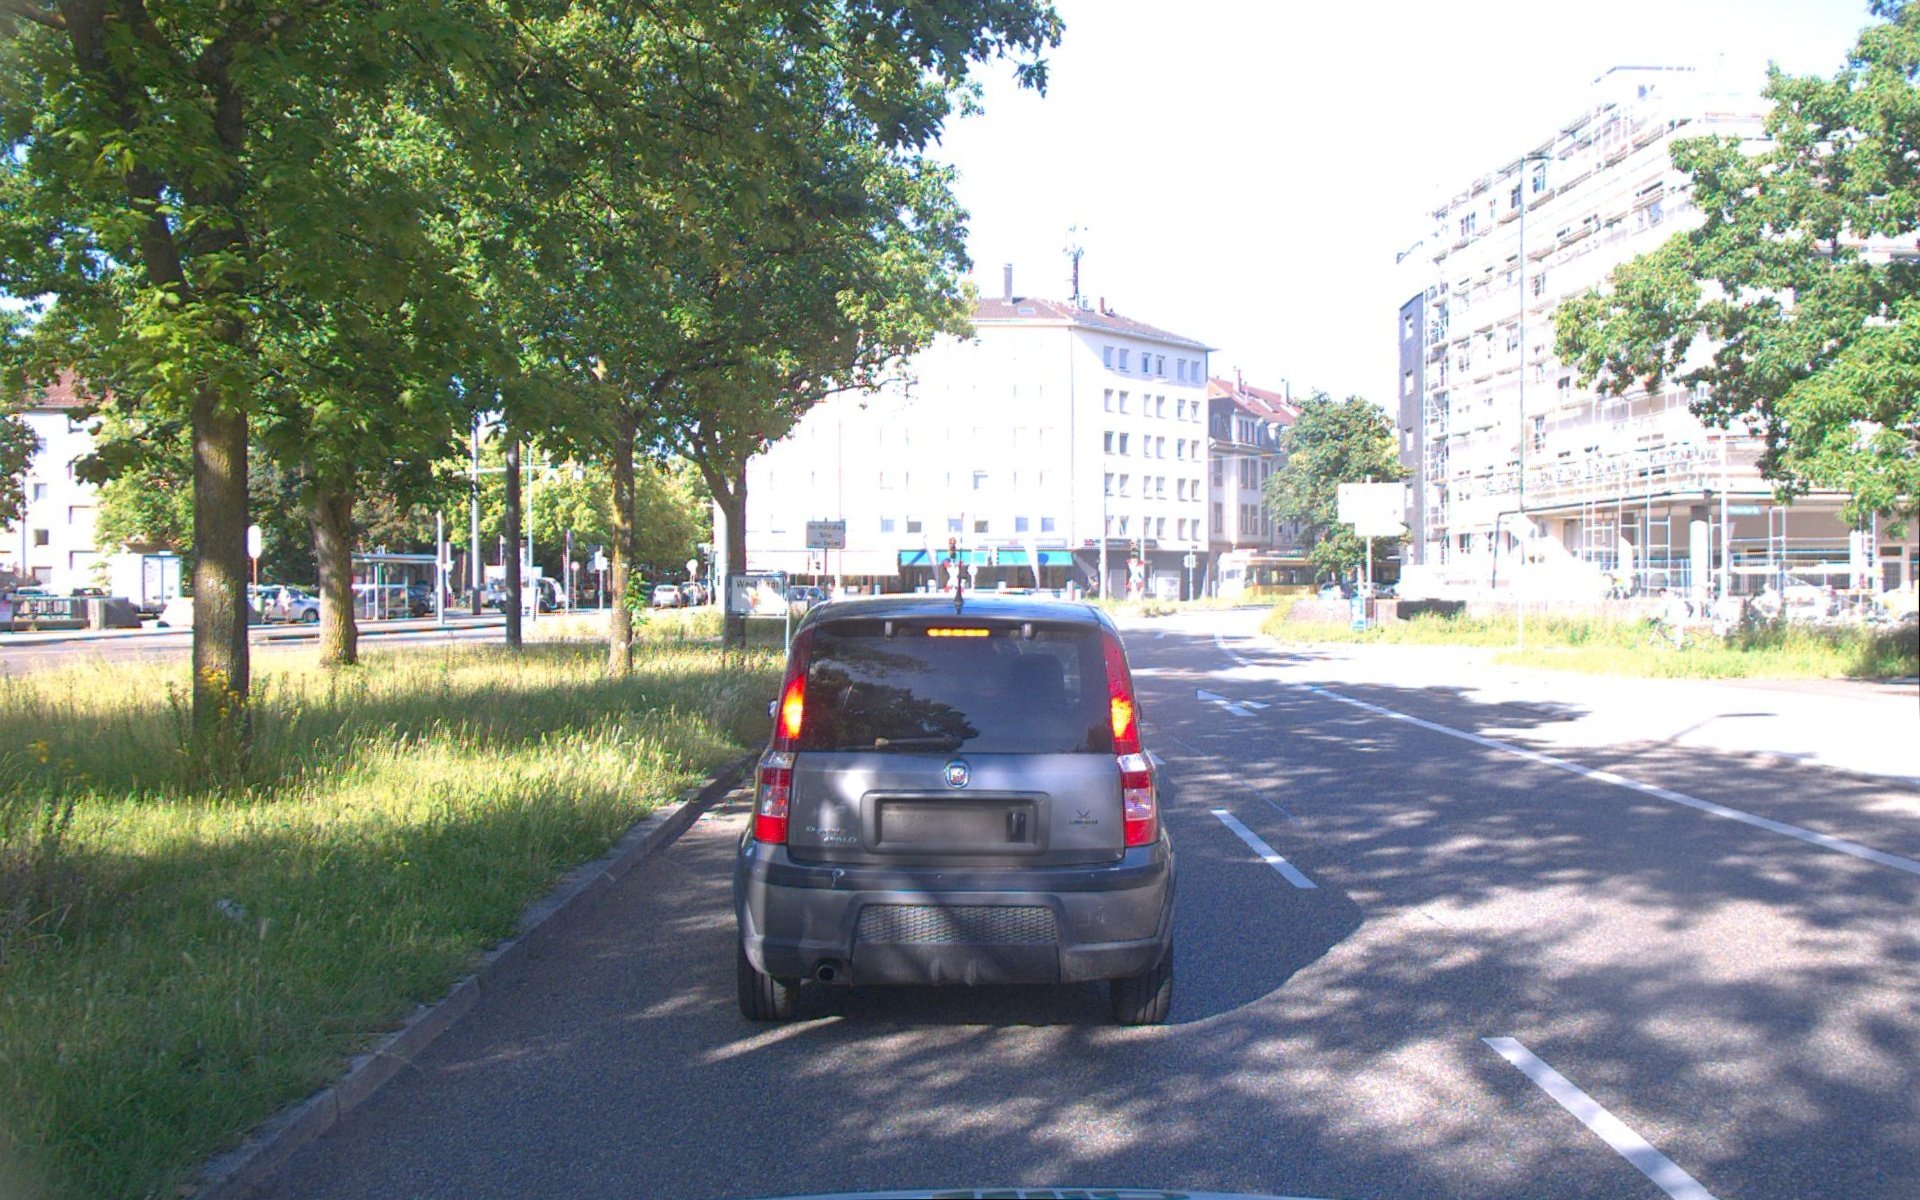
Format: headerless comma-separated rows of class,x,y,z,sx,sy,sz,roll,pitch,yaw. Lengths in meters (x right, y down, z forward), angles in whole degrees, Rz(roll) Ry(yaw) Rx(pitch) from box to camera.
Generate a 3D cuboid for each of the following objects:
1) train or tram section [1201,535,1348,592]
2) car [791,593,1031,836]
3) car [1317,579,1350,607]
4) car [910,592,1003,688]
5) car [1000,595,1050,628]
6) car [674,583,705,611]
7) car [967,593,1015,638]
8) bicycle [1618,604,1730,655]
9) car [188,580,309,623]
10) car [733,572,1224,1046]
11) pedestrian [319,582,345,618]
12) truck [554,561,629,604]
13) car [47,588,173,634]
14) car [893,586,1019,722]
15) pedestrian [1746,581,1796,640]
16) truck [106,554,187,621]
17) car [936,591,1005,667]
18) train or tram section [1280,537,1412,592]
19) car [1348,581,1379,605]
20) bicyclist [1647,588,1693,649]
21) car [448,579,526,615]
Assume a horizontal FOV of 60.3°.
train or tram section,21.756,-2.425,112.634,3.236,3.574,19.338,0,1,32
car,-0.317,0.678,11.619,1.434,1.425,3.393,0,1,-1
car,20.498,-0.394,90.706,1.646,1.475,3.574,0,1,15
car,-0.080,0.606,27.264,1.434,1.449,3.381,0,1,-1
car,2.282,0.399,57.693,1.118,1.083,2.723,0,1,17
car,-20.164,-0.249,123.273,1.954,2.049,3.996,0,1,-5
car,0.916,0.441,49.598,1.328,1.304,2.875,0,1,-1
bicycle,17.697,0.726,41.039,2.460,1.219,0.710,1,0,0
car,-29.959,0.043,69.771,1.961,1.713,4.302,0,1,38
car,0.034,0.657,7.403,1.595,1.534,3.999,0,1,-1
pedestrian,-29.342,-0.009,77.265,0.904,1.636,0.794,0,0,38
truck,-28.369,-1.360,127.356,5.371,3.224,2.341,0,0,28
car,-33.579,0.410,65.391,1.961,1.713,3.983,0,1,38
car,-0.071,0.601,20.664,1.434,1.534,3.504,0,1,-1
pedestrian,23.502,0.294,47.930,0.879,1.682,0.977,-1,0,-30
truck,-35.748,-0.558,72.676,3.932,2.854,1.987,0,1,44
car,0.177,0.553,33.852,1.328,1.475,3.265,0,0,-1
train or tram section,29.575,-2.648,125.313,3.236,3.836,20.756,0,1,32
car,23.003,-0.396,94.236,1.495,1.337,3.289,0,1,17
bicyclist,17.608,0.456,41.033,0.825,1.463,0.744,1,-1,-1
car,-27.941,-0.189,97.824,4.093,2.049,1.930,0,0,-3
